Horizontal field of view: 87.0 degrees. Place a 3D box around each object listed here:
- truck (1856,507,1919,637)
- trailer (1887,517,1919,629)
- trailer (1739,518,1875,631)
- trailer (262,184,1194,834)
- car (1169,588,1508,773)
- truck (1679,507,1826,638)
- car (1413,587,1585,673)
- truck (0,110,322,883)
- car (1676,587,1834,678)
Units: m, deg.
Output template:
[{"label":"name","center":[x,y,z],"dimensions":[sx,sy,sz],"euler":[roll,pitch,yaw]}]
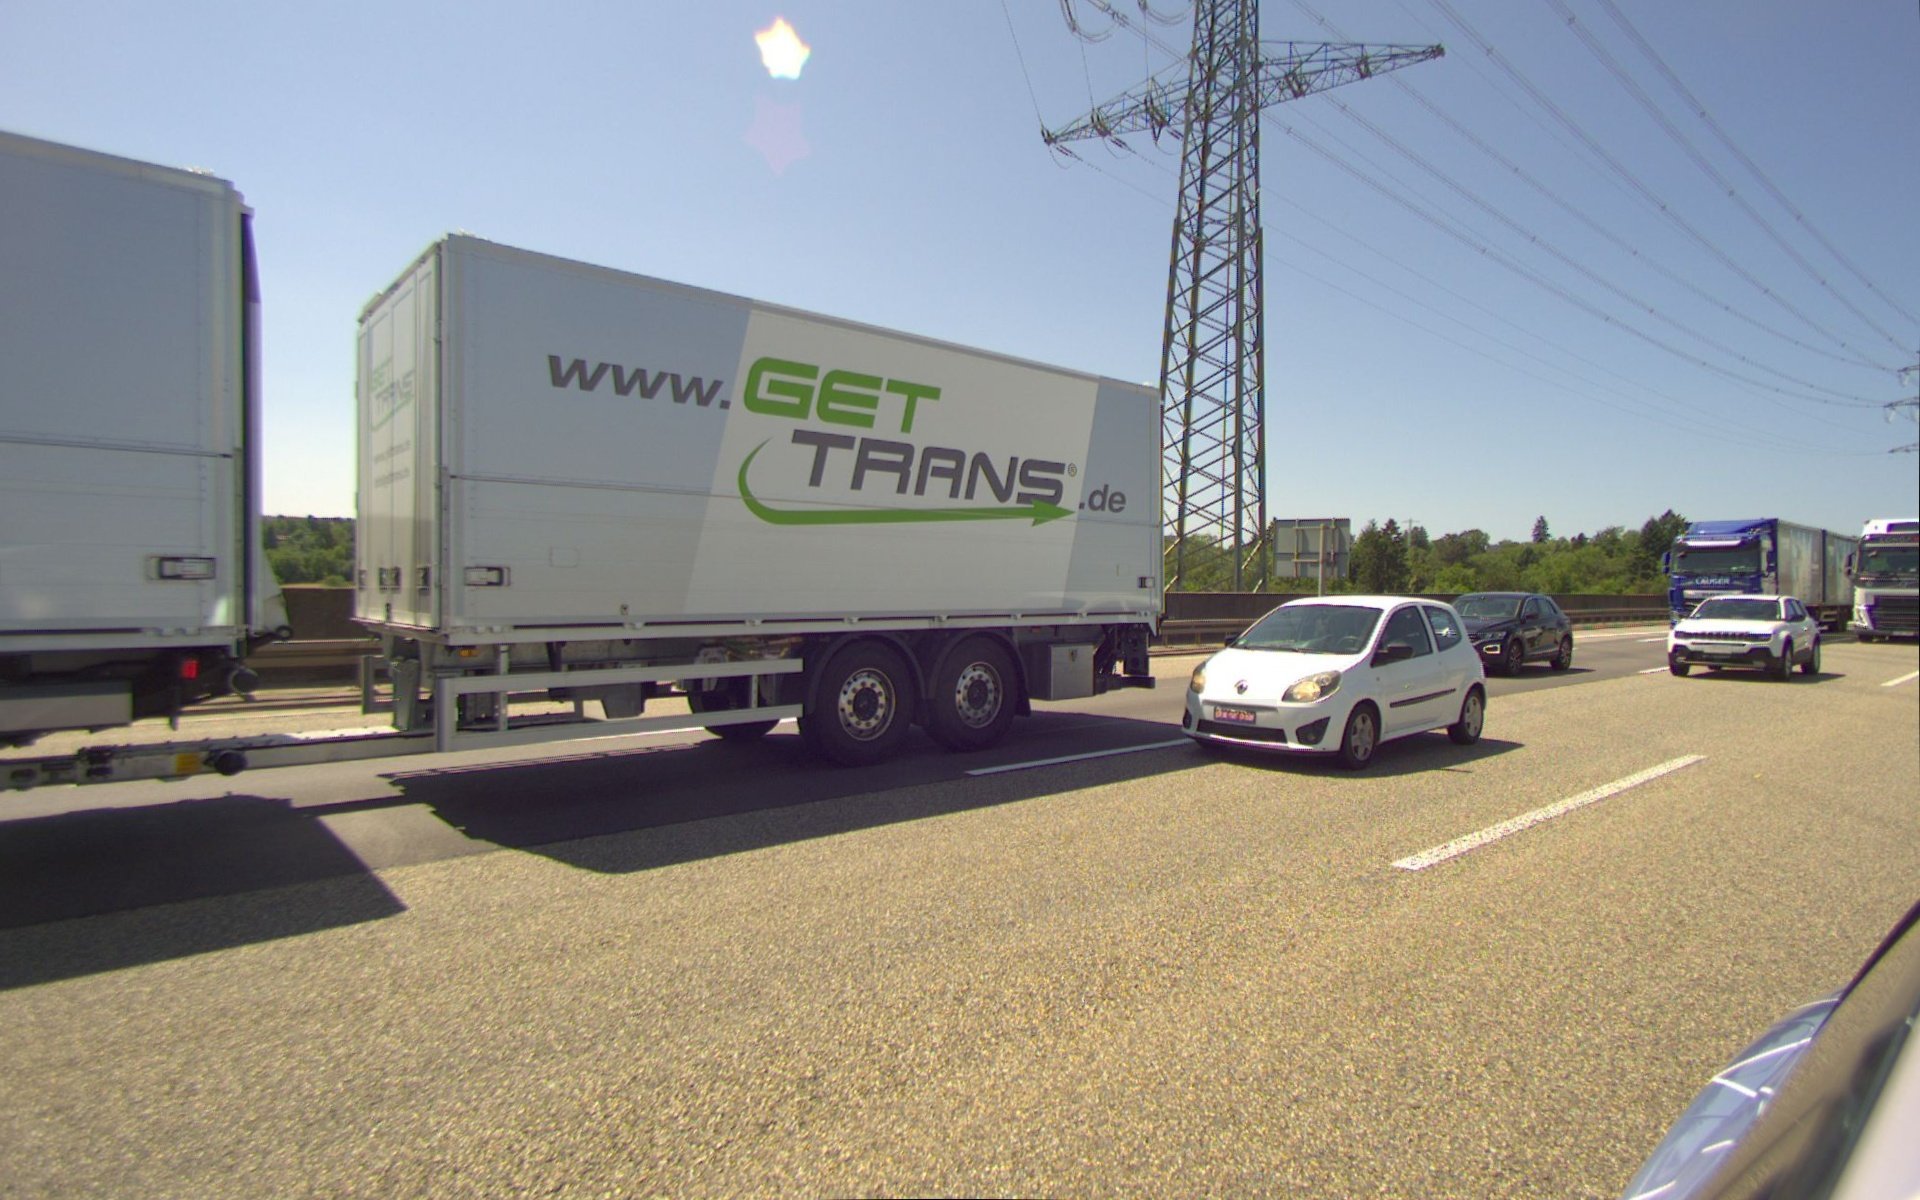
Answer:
[{"label":"truck","center":[31.521,-0.891,32.807],"dimensions":[6.624,3.941,2.911],"euler":[-1,0,-41]},{"label":"trailer","center":[37.613,-1.001,38.154],"dimensions":[9.605,3.918,2.895],"euler":[-1,0,-41]},{"label":"trailer","center":[34.169,-0.980,40.624],"dimensions":[10.696,4.044,2.541],"euler":[-1,0,-41]},{"label":"trailer","center":[-1.416,-0.534,9.450],"dimensions":[8.148,3.640,2.849],"euler":[0,0,-41]},{"label":"car","center":[3.757,0.621,9.786],"dimensions":[3.566,1.458,1.582],"euler":[0,1,-41]},{"label":"truck","center":[27.180,-0.871,34.548],"dimensions":[7.788,4.018,2.515],"euler":[0,0,-41]},{"label":"car","center":[10.532,0.506,19.686],"dimensions":[3.820,1.524,1.708],"euler":[0,1,-41]},{"label":"truck","center":[-8.448,-0.443,3.198],"dimensions":[10.583,3.648,2.855],"euler":[-1,0,-42]},{"label":"car","center":[15.092,0.541,19.158],"dimensions":[3.688,1.554,1.720],"euler":[0,1,-41]}]
